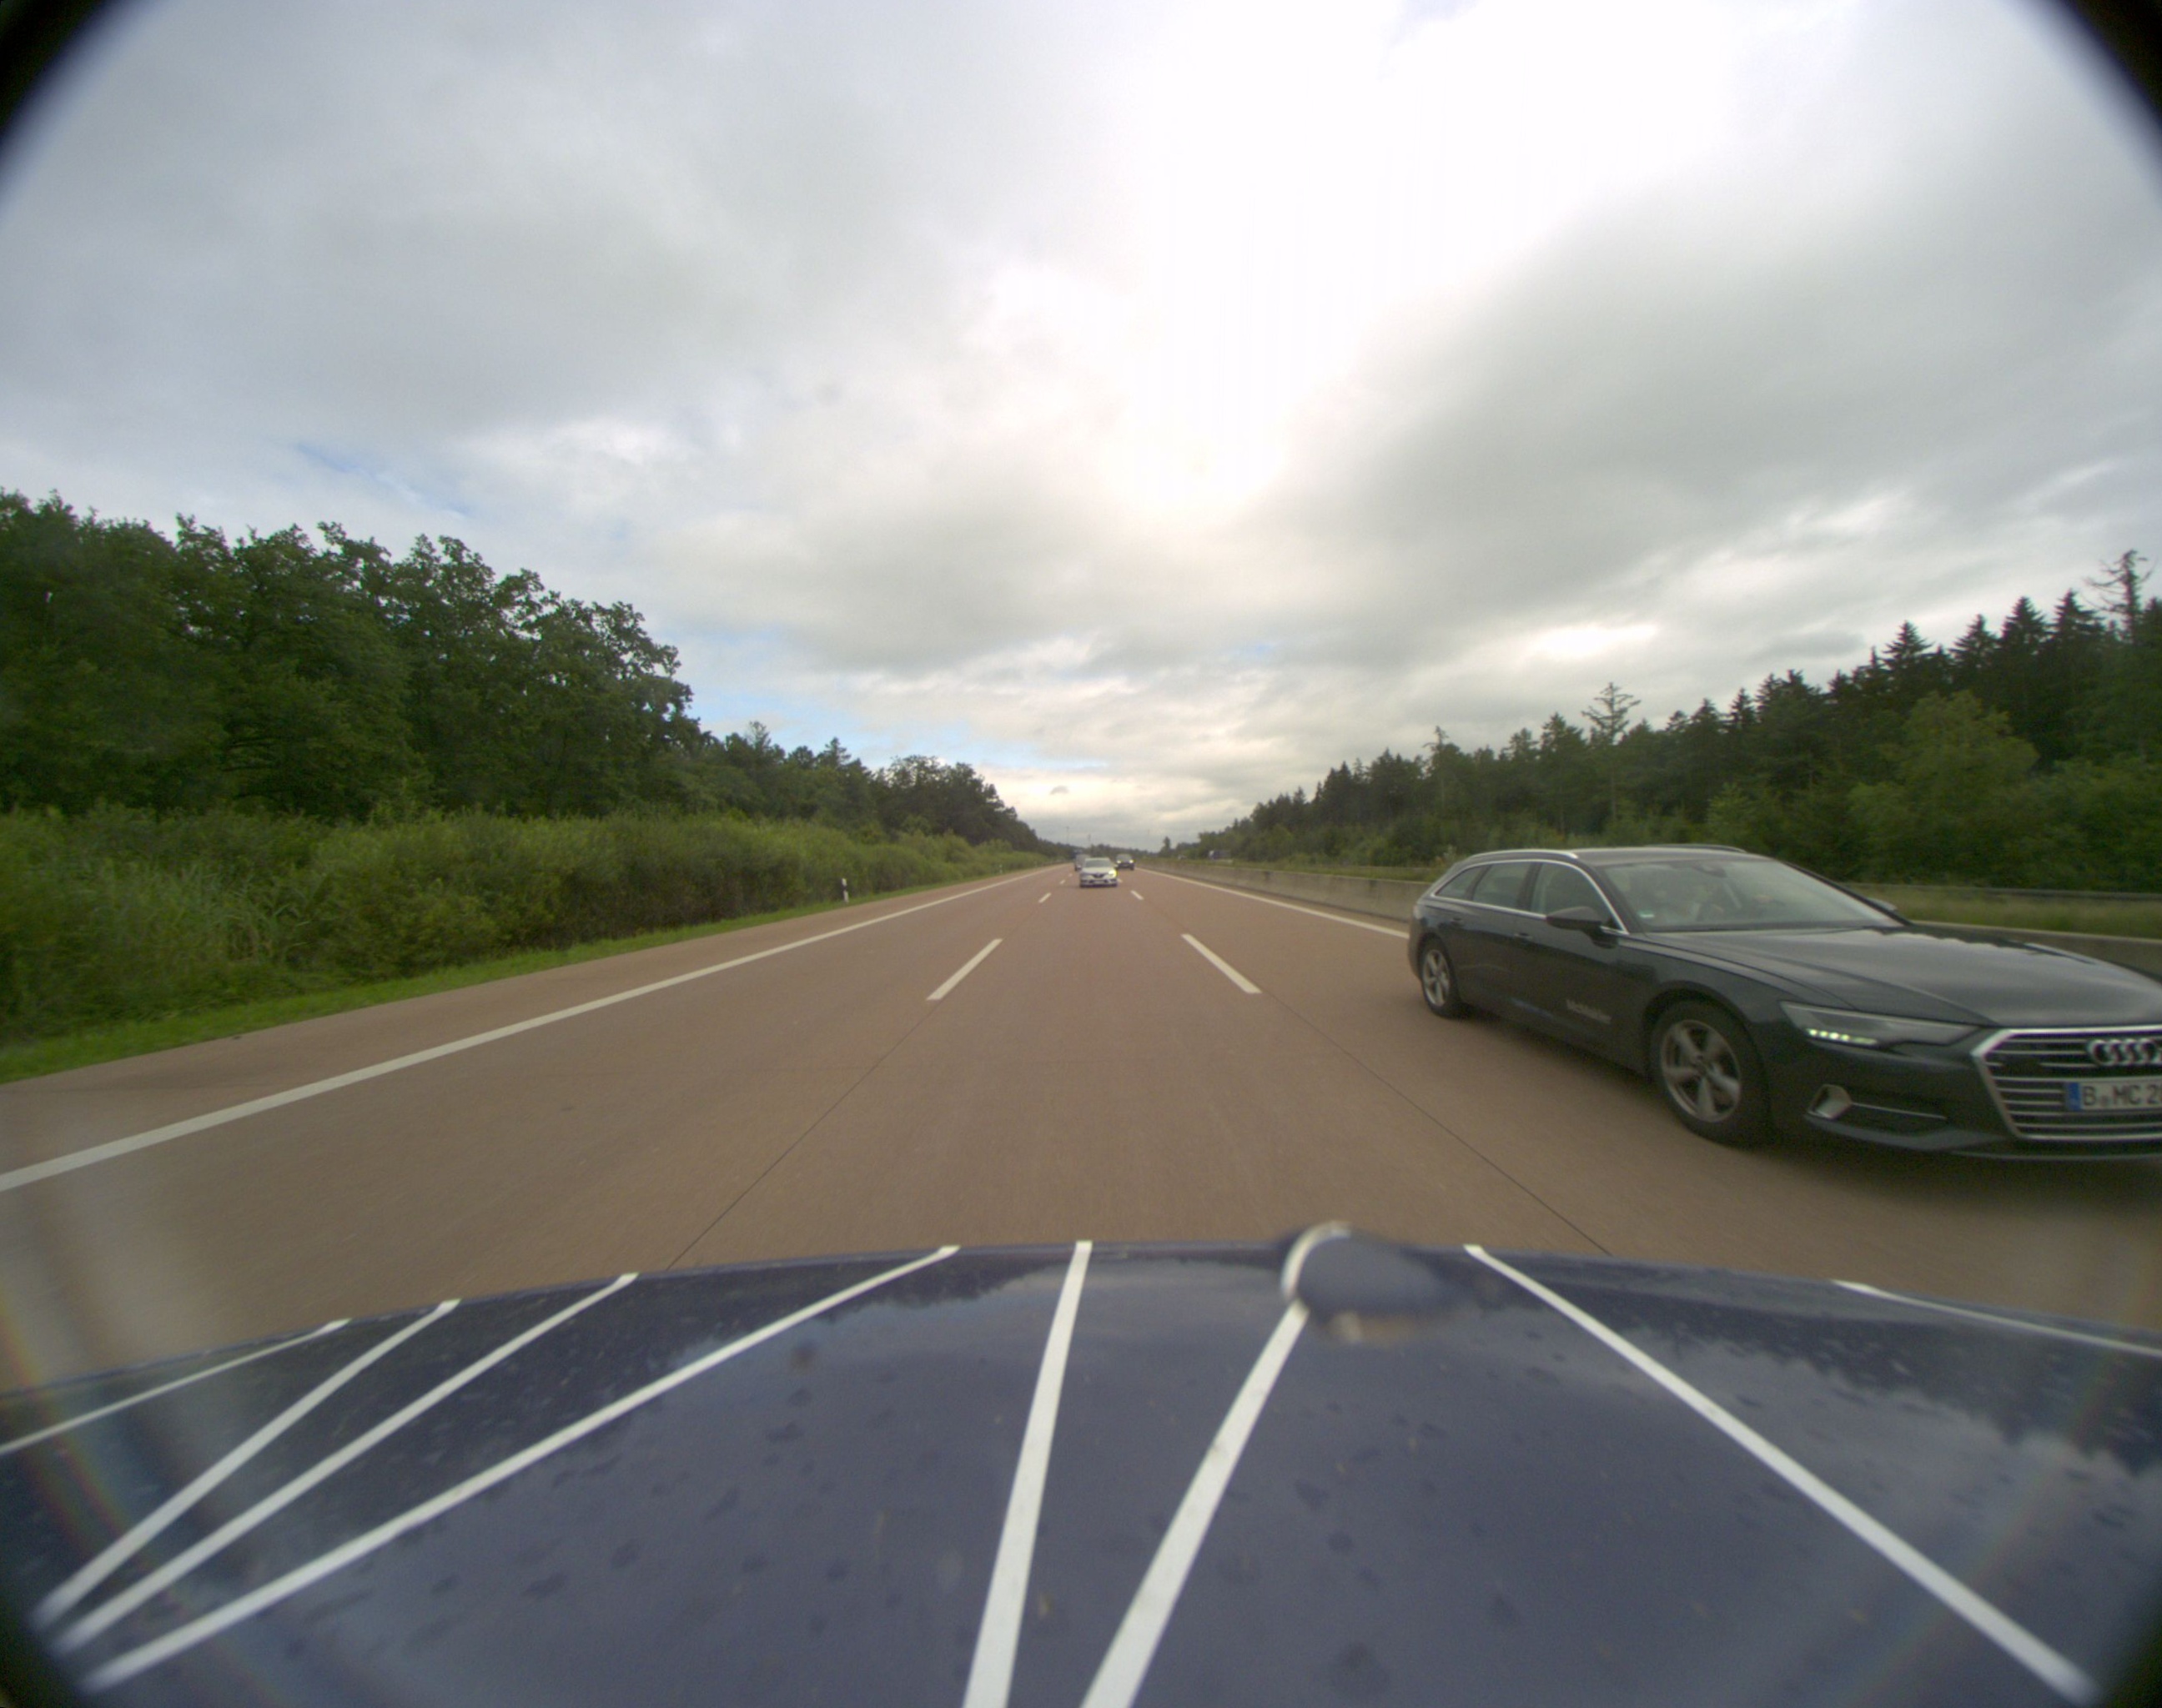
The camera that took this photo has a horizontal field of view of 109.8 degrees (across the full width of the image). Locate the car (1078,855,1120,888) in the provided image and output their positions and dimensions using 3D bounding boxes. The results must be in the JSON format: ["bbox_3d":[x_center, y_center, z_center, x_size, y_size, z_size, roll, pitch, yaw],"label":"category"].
[{"bbox_3d":[0.950,0.827,38.059,1.923,1.515,4.001,-2,0,3],"label":"car"}]

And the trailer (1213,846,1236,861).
[{"bbox_3d":[20.981,-0.072,111.299,2.337,2.149,6.189,-2,0,1],"label":"trailer"}]

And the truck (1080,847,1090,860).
[{"bbox_3d":[1.271,-0.178,237.208,2.956,3.705,7.950,-5,0,1],"label":"truck"}]

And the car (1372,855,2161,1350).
[{"bbox_3d":[3.999,0.785,5.097,2.064,1.483,5.453,-2,0,1],"label":"car"}]

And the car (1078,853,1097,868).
[{"bbox_3d":[0.728,0.698,83.517,1.986,1.499,4.052,-2,0,1],"label":"car"}]

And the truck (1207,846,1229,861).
[{"bbox_3d":[21.094,-0.089,117.418,2.352,2.149,6.043,-2,0,1],"label":"truck"}]

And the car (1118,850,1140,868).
[{"bbox_3d":[5.053,0.500,79.977,1.998,1.689,5.252,-2,0,1],"label":"car"}]
